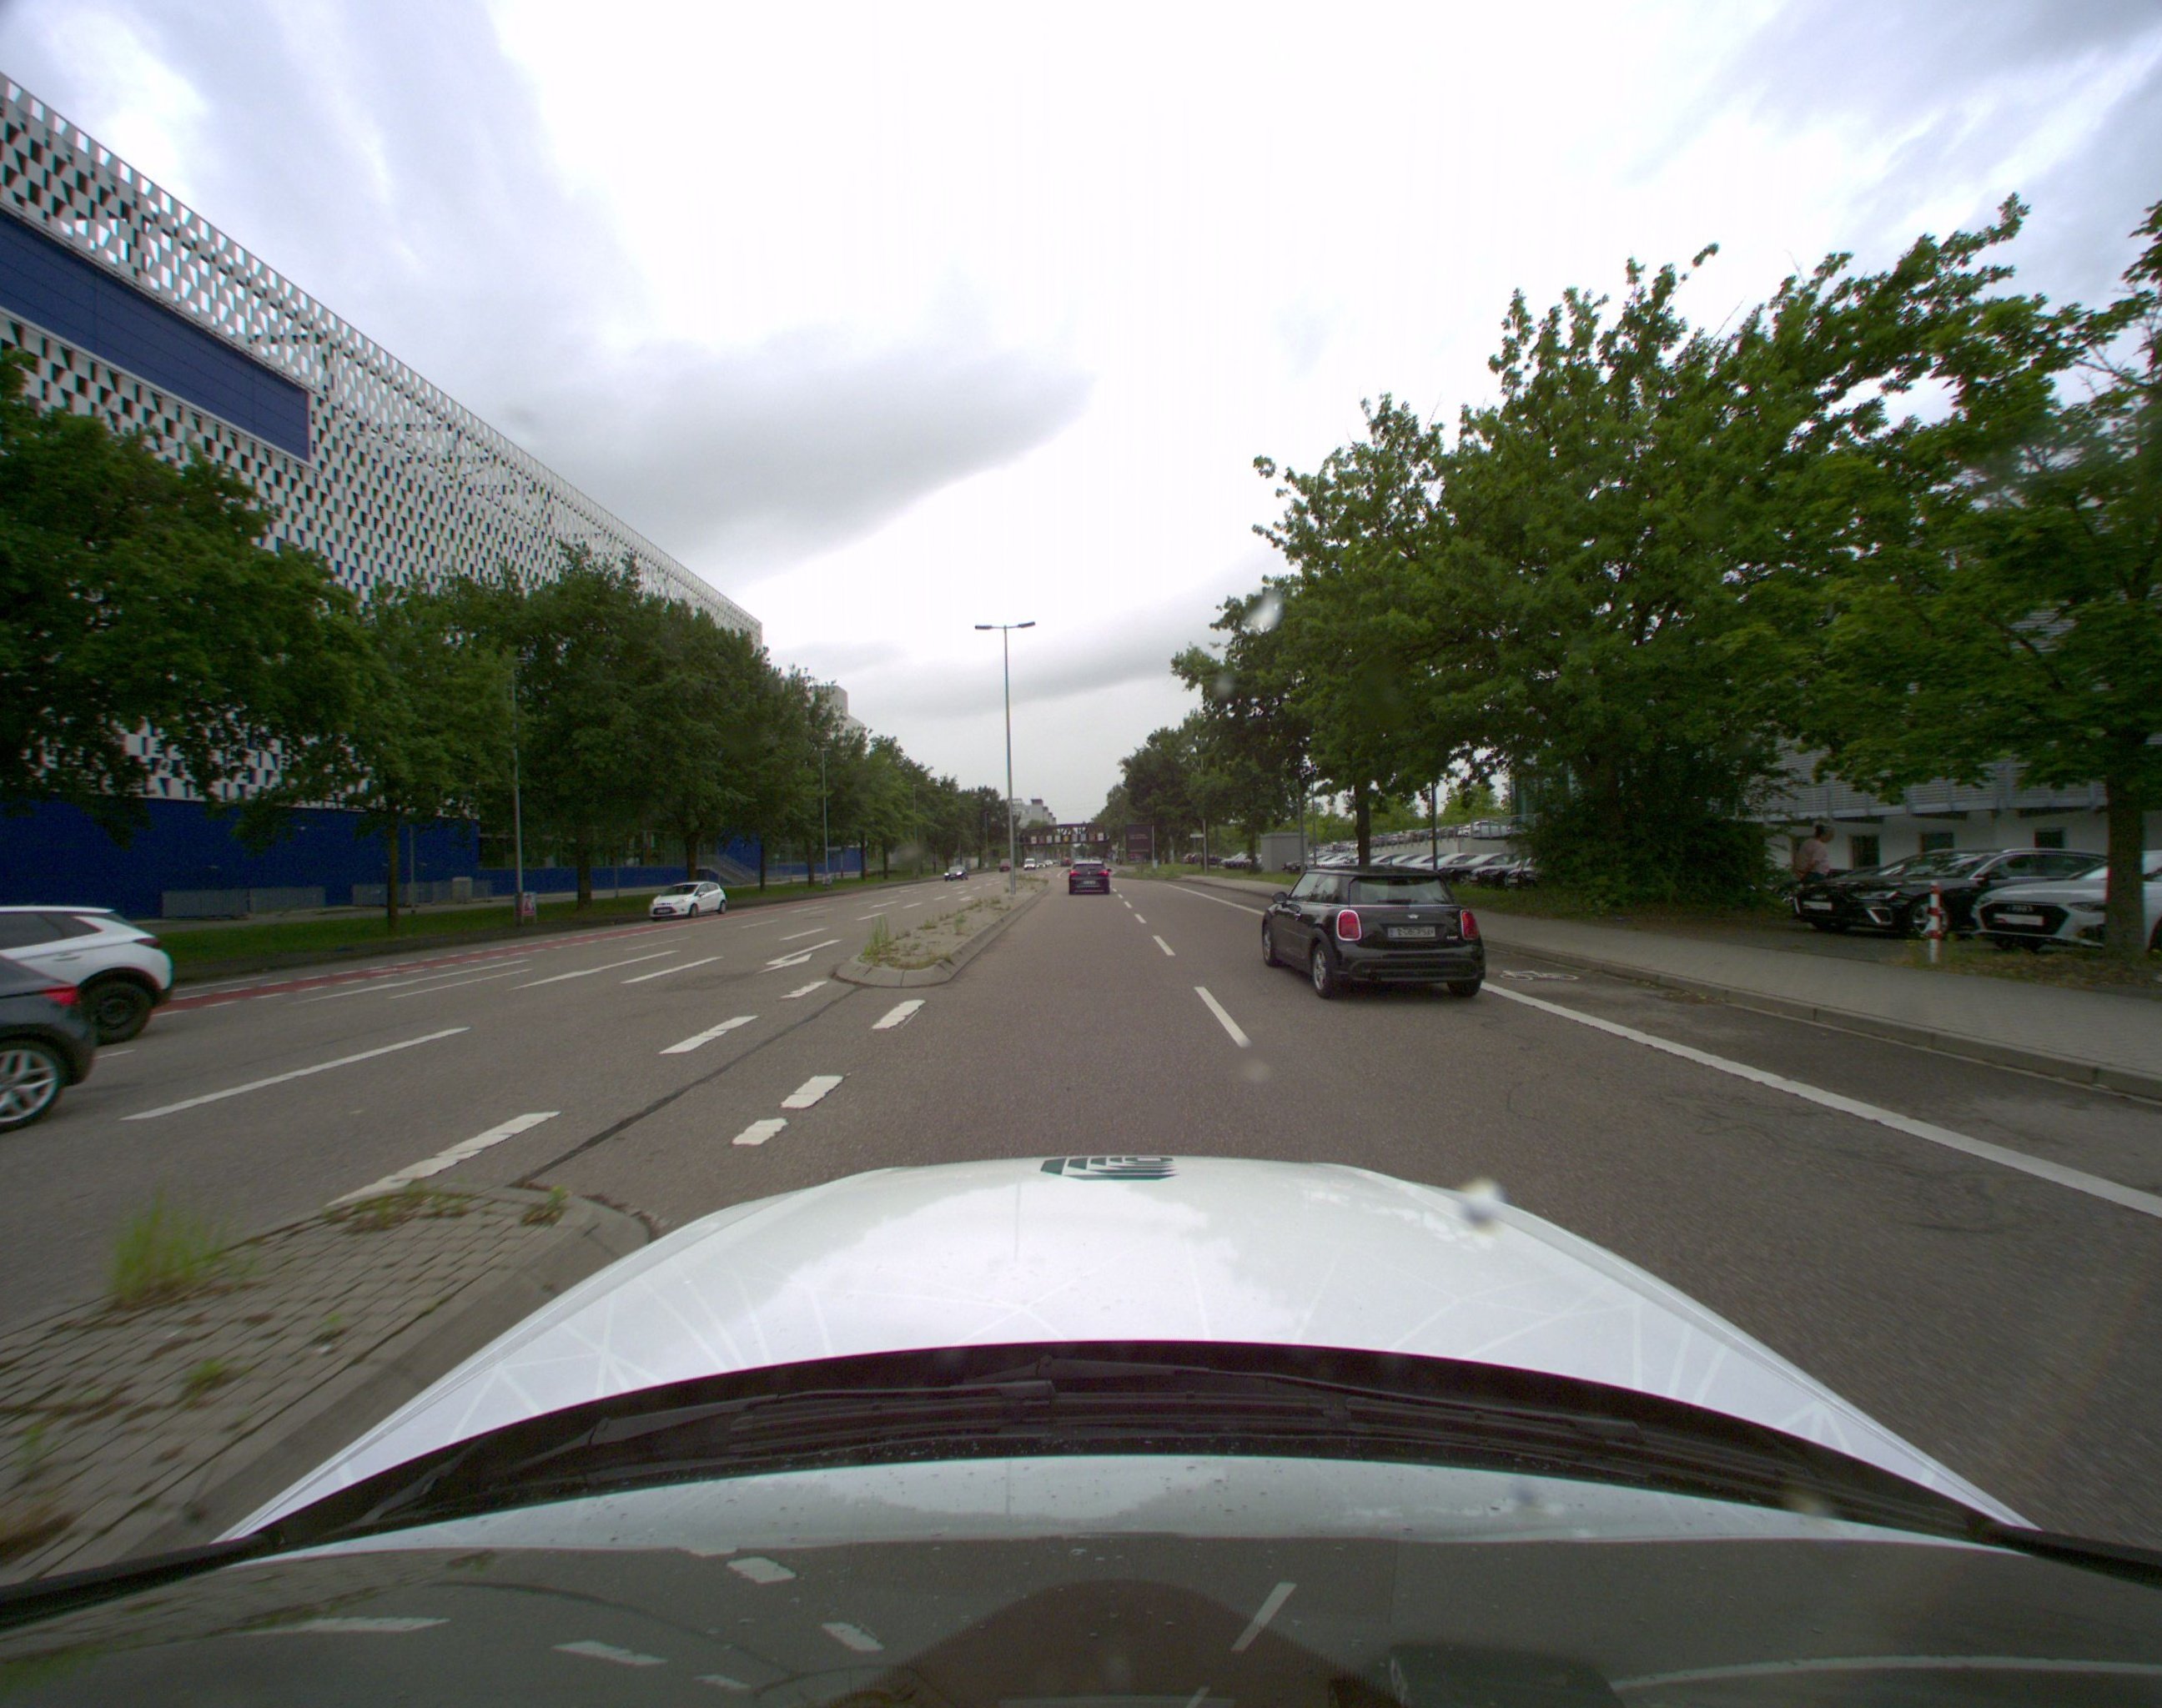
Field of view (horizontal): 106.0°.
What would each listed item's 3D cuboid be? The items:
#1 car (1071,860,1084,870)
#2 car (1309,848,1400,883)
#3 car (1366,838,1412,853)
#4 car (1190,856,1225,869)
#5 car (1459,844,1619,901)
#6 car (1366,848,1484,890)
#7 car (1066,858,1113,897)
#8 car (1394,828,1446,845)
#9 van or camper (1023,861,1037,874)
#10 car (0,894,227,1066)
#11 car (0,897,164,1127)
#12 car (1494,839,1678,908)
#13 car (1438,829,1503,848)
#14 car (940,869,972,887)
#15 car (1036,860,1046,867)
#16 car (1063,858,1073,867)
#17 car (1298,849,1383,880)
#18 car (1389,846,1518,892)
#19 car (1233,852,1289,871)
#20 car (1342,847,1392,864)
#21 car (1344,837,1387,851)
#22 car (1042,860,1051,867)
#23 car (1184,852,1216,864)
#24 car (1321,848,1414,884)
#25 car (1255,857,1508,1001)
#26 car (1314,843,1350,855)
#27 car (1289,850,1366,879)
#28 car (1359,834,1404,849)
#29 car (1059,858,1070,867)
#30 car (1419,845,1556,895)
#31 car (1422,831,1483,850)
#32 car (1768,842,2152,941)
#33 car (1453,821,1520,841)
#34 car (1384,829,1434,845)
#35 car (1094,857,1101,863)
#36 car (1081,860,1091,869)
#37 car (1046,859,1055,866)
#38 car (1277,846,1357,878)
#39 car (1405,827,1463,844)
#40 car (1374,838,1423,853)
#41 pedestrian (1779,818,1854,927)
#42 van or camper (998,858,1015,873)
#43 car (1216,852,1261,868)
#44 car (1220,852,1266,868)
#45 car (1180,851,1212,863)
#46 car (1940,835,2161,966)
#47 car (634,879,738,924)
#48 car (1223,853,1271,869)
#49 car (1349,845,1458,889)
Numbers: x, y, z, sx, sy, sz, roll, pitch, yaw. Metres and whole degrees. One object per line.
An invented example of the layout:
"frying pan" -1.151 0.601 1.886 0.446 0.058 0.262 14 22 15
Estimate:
"car" -0.560 1.931 149.928 2.126 1.661 3.785 -1 1 3
"car" 15.182 0.627 45.370 4.378 1.520 2.001 4 2 1
"car" 31.031 -0.902 82.073 4.073 1.435 1.730 -1 1 -1
"car" 14.855 1.005 95.736 3.966 1.435 1.734 -1 1 6
"car" 15.047 0.580 26.910 4.194 1.485 1.826 5 1 -1
"car" 14.663 0.623 34.910 4.167 1.485 1.977 3 1 1
"car" 0.415 0.972 34.958 1.749 1.434 4.004 -2 1 3
"car" 31.012 -1.582 74.465 4.073 1.496 1.730 -1 1 -1
"van or camper" -7.617 1.968 121.948 1.749 1.747 4.407 -5 0 1
"car" -11.720 1.391 7.851 1.987 1.594 4.577 -5 0 0
"car" -8.098 1.136 4.161 1.851 1.462 4.330 -3 0 -1
"car" 14.921 0.545 24.212 4.224 1.602 1.876 5 1 -1
"car" 31.756 -1.266 66.512 4.323 1.496 2.069 -1 1 -1
"car" -12.023 2.320 78.620 1.908 1.502 4.260 -4 -1 7
"car" -8.507 1.982 171.362 1.747 1.446 3.342 -1 1 3
"car" -2.861 1.768 180.208 1.942 1.815 4.004 -1 1 3
"car" 15.225 0.594 47.945 4.278 1.504 2.030 4 0 1
"car" 14.706 0.580 32.352 4.183 1.485 1.959 3 1 -1
"car" 15.510 0.613 70.295 4.329 1.503 1.929 2 0 -1
"car" 26.553 0.135 75.783 4.073 1.435 1.730 -1 1 -1
"car" 31.428 -1.101 89.919 4.187 1.435 1.730 -1 1 -1
"car" -7.906 2.186 187.885 1.712 1.371 3.443 -1 1 3
"car" 14.861 0.534 101.895 3.966 1.435 1.734 -1 1 6
"car" 14.986 0.613 42.760 4.160 1.469 2.001 4 2 1
"car" 3.392 0.758 9.960 1.780 1.416 3.643 1 0 0
"car" 31.469 -0.603 102.130 4.073 1.435 1.730 -1 1 -1
"car" 15.185 0.618 50.356 4.160 1.445 1.961 4 2 1
"car" 31.220 -1.319 84.741 4.073 1.435 1.730 -1 1 -1
"car" -3.487 1.758 173.270 1.876 1.661 3.785 -1 1 3
"car" 14.768 0.545 29.746 4.051 1.485 1.819 4 1 -1
"car" 31.573 -1.176 69.250 4.323 1.496 1.970 -1 1 -1
"car" 13.842 0.560 13.018 4.190 1.421 1.855 1 0 0
"car" 31.708 -1.801 63.751 4.323 1.496 1.881 -1 1 -1
"car" 31.059 -1.608 77.105 4.073 1.435 1.730 -1 1 -1
"car" 5.186 1.827 249.758 1.942 1.815 4.004 -1 1 3
"car" 1.045 2.353 179.715 1.942 1.815 4.004 -1 1 3
"car" -7.841 2.186 209.369 1.932 1.676 3.785 -1 1 3
"car" 15.300 0.478 52.958 4.533 1.702 2.001 4 2 1
"car" 31.074 -1.639 71.829 4.323 1.496 1.881 -1 1 -1
"car" 31.041 -0.850 79.762 4.073 1.435 1.946 -1 1 -1
"pedestrian" 12.858 0.317 14.260 0.669 1.871 0.719 0 -1 0
"van or camper" -10.953 1.694 120.049 1.869 1.986 4.889 -3 0 0
"car" 15.417 0.578 80.005 4.073 1.435 1.730 -1 1 -1
"car" 15.413 0.555 77.687 4.073 1.435 1.846 -1 1 -1
"car" 14.708 0.436 104.251 3.966 1.435 1.734 -1 1 6
"car" 14.020 0.558 10.187 4.634 1.472 1.847 1 0 -1
"car" -16.210 1.912 33.699 1.848 1.462 4.337 -3 0 4
"car" 15.298 0.629 75.280 4.073 1.435 1.821 -1 1 -1
"car" 14.719 0.575 37.378 4.160 1.662 2.001 3 1 1
